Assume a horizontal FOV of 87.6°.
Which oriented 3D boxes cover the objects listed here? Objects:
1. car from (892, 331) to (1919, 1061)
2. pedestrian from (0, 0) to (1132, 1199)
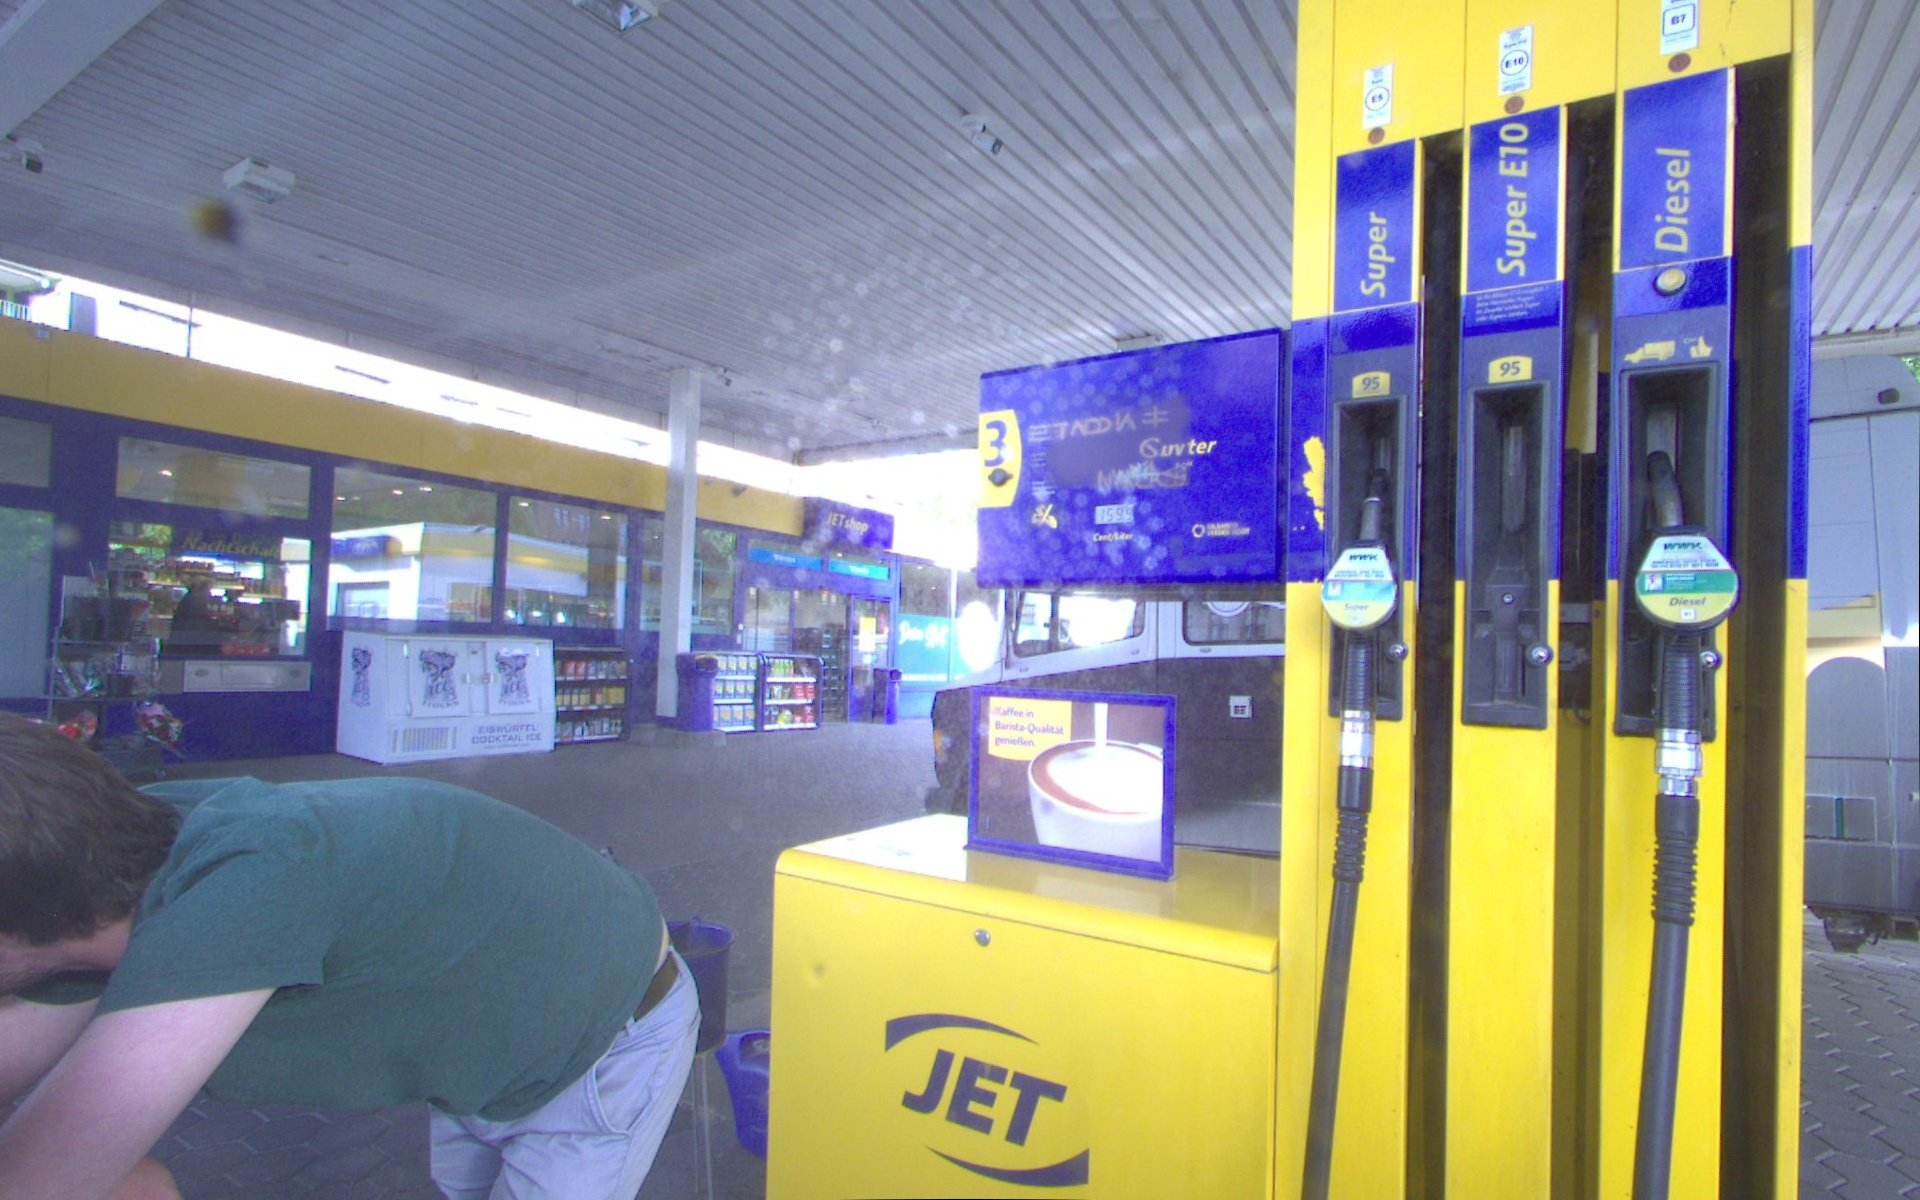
[{"bbox_3d":[2.350,0.440,5.996,5.271,2.759,2.193,-1,-3,34],"label":"car"},{"bbox_3d":[-0.522,0.582,1.079,0.981,1.750,1.175,-2,-2,36],"label":"pedestrian"}]
